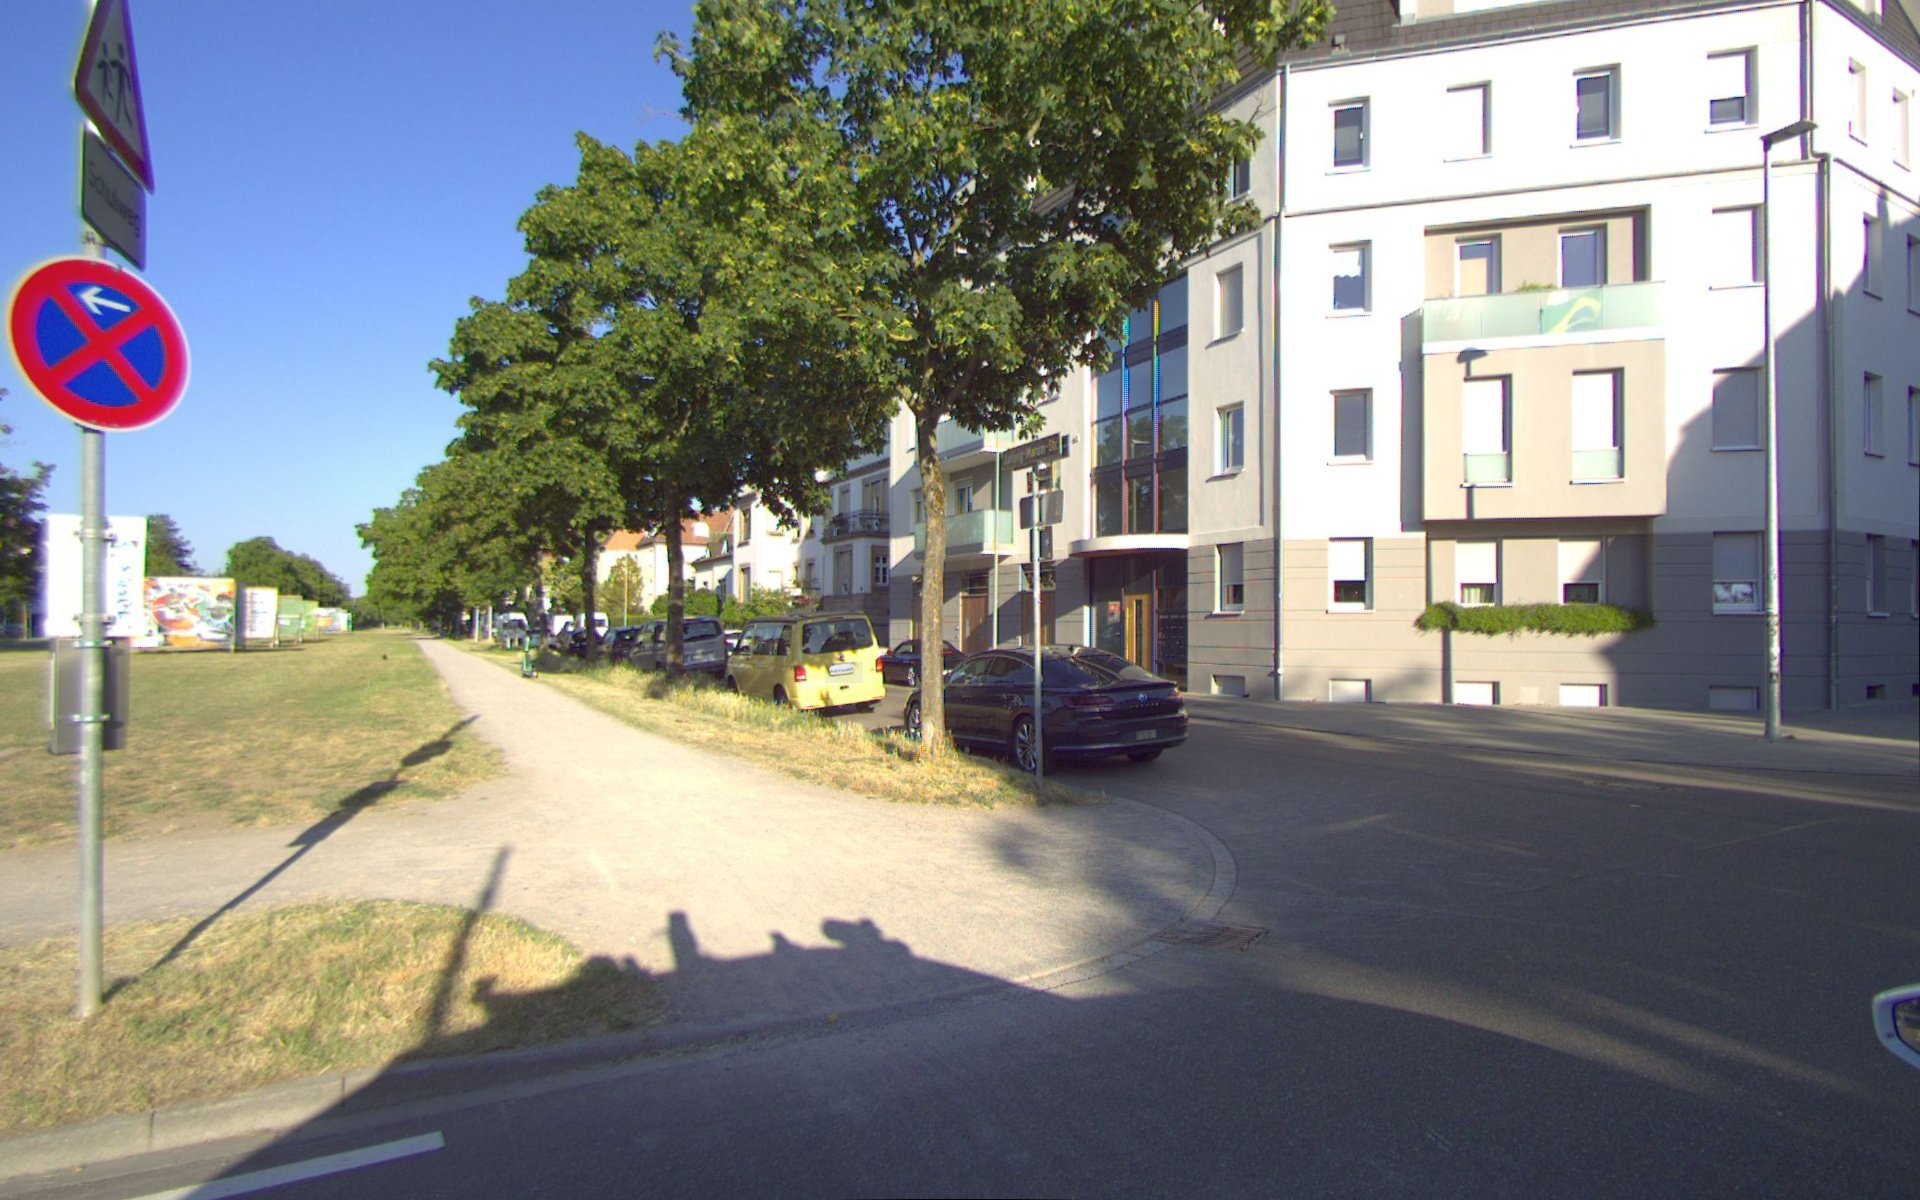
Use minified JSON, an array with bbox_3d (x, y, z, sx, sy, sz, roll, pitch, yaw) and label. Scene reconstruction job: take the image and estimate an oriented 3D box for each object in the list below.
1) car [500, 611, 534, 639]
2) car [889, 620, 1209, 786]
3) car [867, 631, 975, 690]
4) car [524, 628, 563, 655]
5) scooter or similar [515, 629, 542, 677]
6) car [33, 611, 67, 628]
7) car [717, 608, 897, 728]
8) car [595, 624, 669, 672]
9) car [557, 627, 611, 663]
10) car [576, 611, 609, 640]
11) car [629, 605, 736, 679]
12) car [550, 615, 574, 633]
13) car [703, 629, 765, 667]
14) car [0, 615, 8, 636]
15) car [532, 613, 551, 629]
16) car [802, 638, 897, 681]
[{"bbox_3d":[-33.630,1.892,76.164,2.200,1.971,4.479,1,-2,-26],"label":"car"},{"bbox_3d":[0.875,1.126,12.890,1.766,1.691,4.804,1,-2,-28],"label":"car"},{"bbox_3d":[-1.173,1.654,28.325,1.605,1.441,3.704,-1,0,-28],"label":"car"},{"bbox_3d":[-26.038,2.582,62.738,1.804,1.601,3.807,1,-2,-29],"label":"car"},{"bbox_3d":[-10.472,1.269,24.375,0.447,1.130,1.636,1,-2,-28],"label":"scooter or similar"},{"bbox_3d":[-92.603,1.979,102.275,1.829,1.718,3.967,-1,-1,-31],"label":"car"},{"bbox_3d":[-3.225,1.240,20.273,2.008,2.040,4.658,-3,0,-30],"label":"car"},{"bbox_3d":[-11.664,1.663,35.558,1.804,1.601,3.807,1,-2,-29],"label":"car"},{"bbox_3d":[-17.530,2.072,46.772,1.804,1.601,3.807,1,-2,-29],"label":"car"},{"bbox_3d":[-29.026,2.014,79.213,1.974,2.243,4.104,1,-2,-26],"label":"car"},{"bbox_3d":[-8.472,1.240,30.350,2.055,2.040,4.540,2,-2,-30],"label":"car"},{"bbox_3d":[-39.425,2.379,99.430,1.843,1.696,4.104,1,-2,-26],"label":"car"},{"bbox_3d":[-10.443,2.182,46.286,1.804,1.601,3.807,1,-2,-29],"label":"car"},{"bbox_3d":[-78.304,2.084,80.678,1.829,1.718,3.967,-1,-1,-31],"label":"car"},{"bbox_3d":[-50.265,2.520,120.523,1.824,1.765,3.870,1,-2,-26],"label":"car"},{"bbox_3d":[-3.692,1.927,33.096,1.609,1.256,3.697,3,-2,-33],"label":"car"}]
